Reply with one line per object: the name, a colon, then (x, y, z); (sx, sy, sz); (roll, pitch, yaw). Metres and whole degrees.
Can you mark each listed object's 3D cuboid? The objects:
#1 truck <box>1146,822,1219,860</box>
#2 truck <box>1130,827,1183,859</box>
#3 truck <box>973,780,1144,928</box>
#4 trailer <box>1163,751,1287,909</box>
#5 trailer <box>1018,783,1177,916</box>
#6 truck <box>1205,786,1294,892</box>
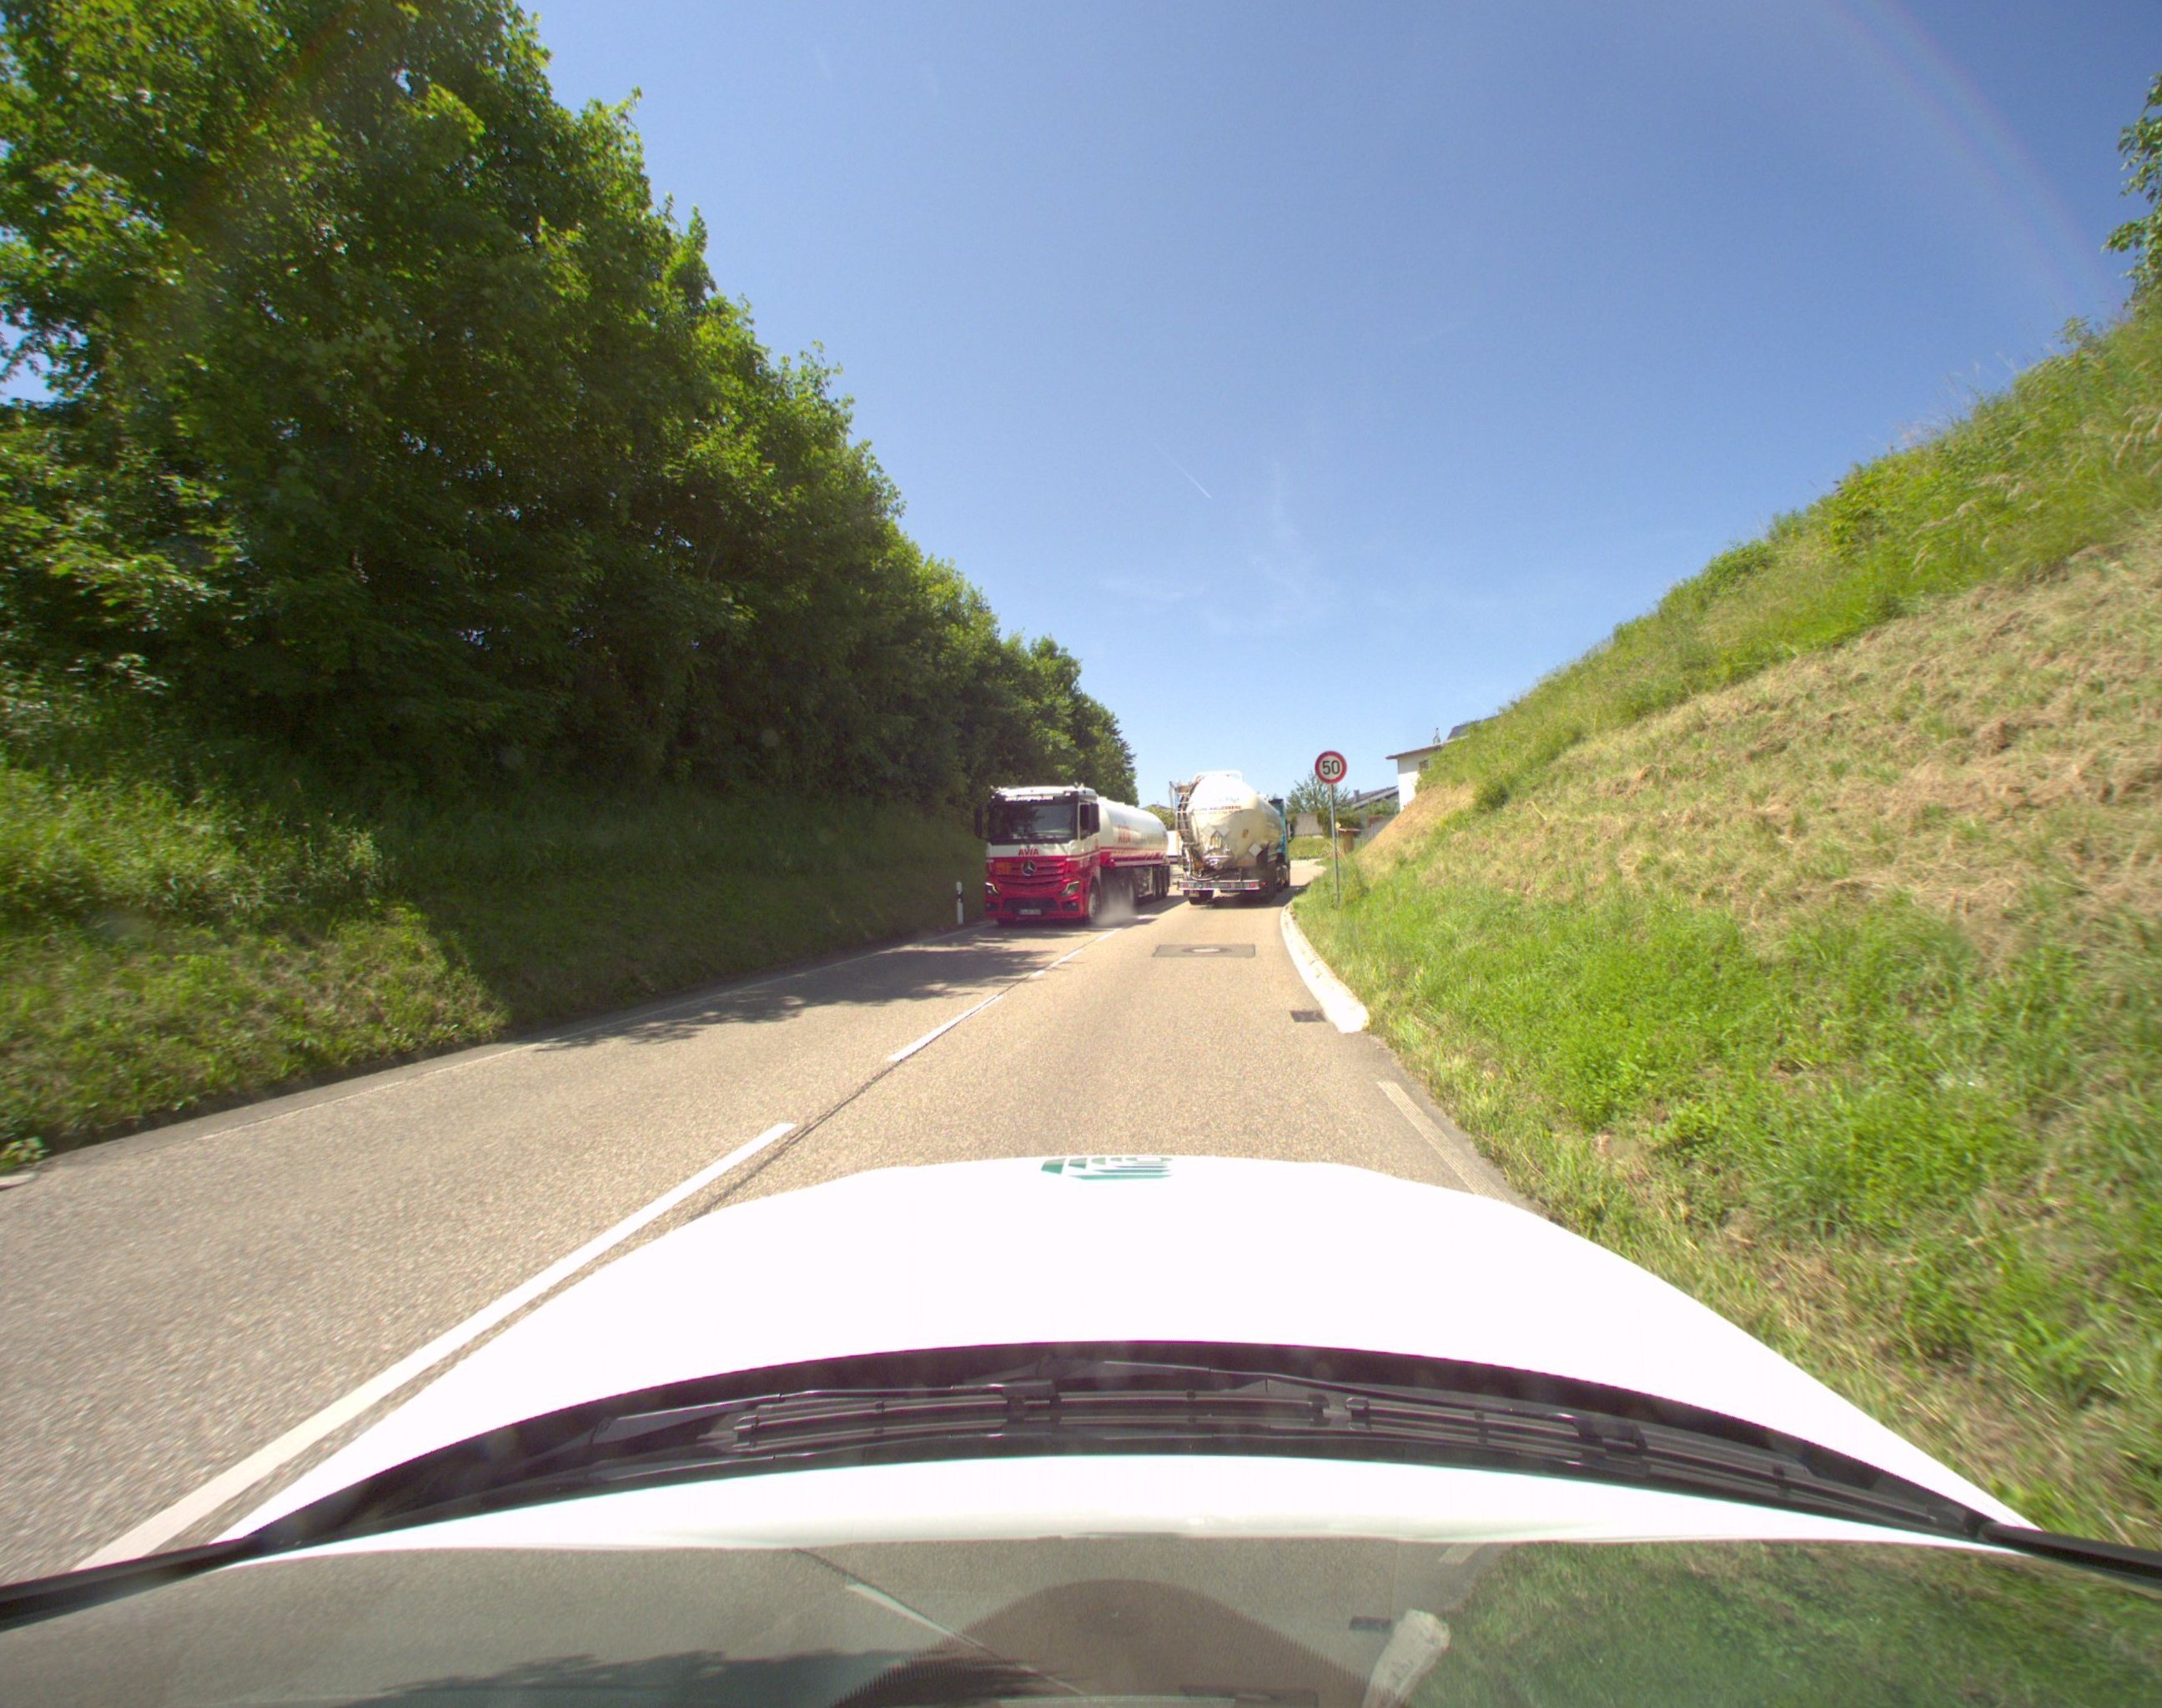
truck: (11.978, -1.451, 98.008); (3.205, 4.309, 11.706); (0, 0, -24)
truck: (9.502, -1.365, 103.466); (3.205, 3.933, 8.186); (0, 0, -24)
truck: (-0.259, 0.029, 21.367); (2.607, 3.170, 7.094); (-2, -1, 13)
trailer: (5.363, -0.649, 28.060); (2.640, 4.188, 11.956); (-2, -1, 17)
trailer: (1.035, -0.087, 26.647); (2.614, 3.373, 11.185); (-2, -1, 14)
truck: (7.292, -0.524, 34.423); (2.705, 3.930, 7.297); (-2, -1, 18)
